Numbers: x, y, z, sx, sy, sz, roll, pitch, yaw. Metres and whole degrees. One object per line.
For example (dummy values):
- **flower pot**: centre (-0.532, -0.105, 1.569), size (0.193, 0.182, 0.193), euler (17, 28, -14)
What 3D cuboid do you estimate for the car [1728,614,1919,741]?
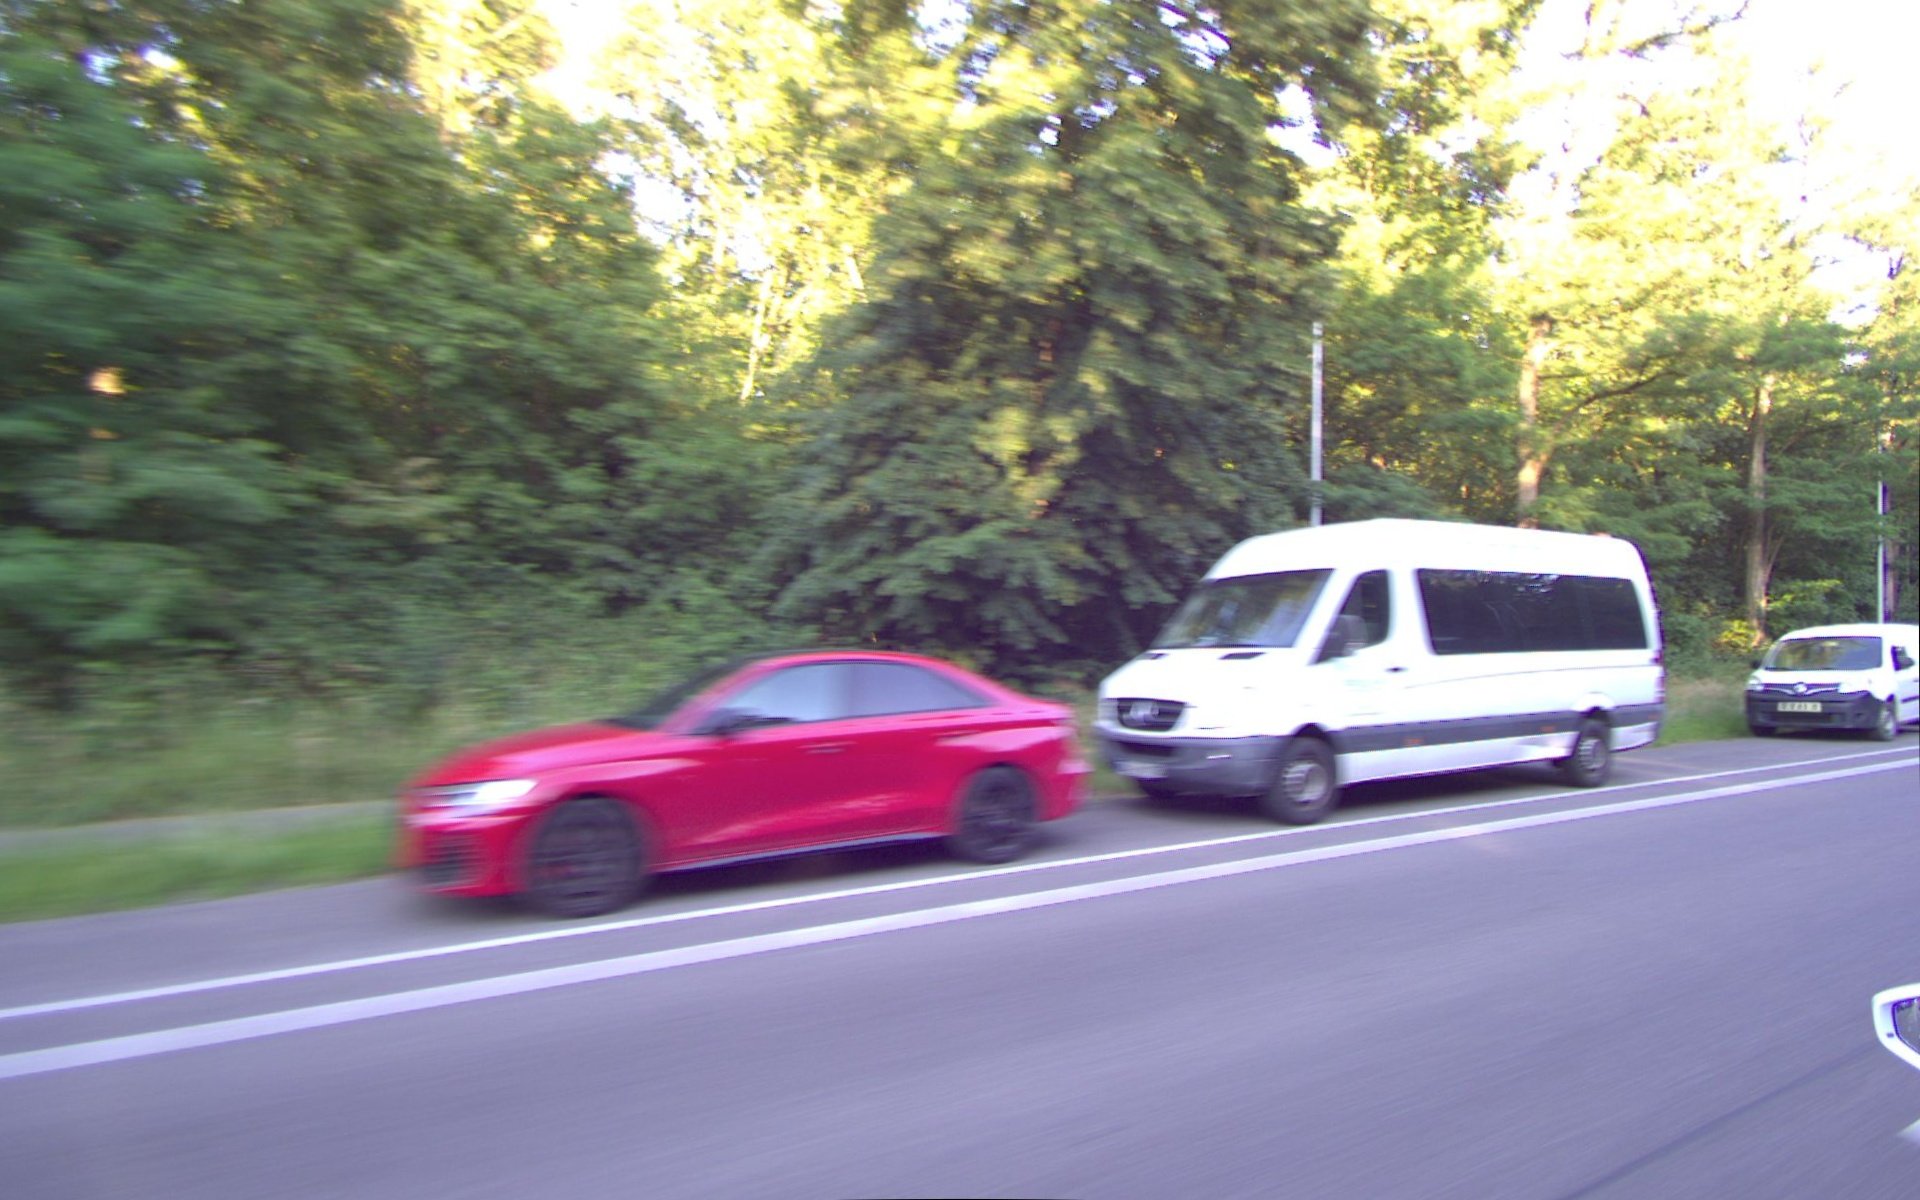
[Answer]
- **car**: centre (14.746, 1.239, 16.755), size (4.341, 1.882, 1.678), euler (2, -4, -33)

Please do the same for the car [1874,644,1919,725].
- **car**: centre (19.267, 1.560, 19.016), size (4.395, 1.451, 1.662), euler (1, -3, -31)

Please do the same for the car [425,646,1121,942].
- **car**: centre (-1.153, 1.042, 6.807), size (4.334, 1.449, 1.709), euler (1, -2, -29)

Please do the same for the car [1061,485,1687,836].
- **car**: centre (4.479, 0.585, 10.246), size (7.006, 2.640, 2.070), euler (1, -4, -31)
